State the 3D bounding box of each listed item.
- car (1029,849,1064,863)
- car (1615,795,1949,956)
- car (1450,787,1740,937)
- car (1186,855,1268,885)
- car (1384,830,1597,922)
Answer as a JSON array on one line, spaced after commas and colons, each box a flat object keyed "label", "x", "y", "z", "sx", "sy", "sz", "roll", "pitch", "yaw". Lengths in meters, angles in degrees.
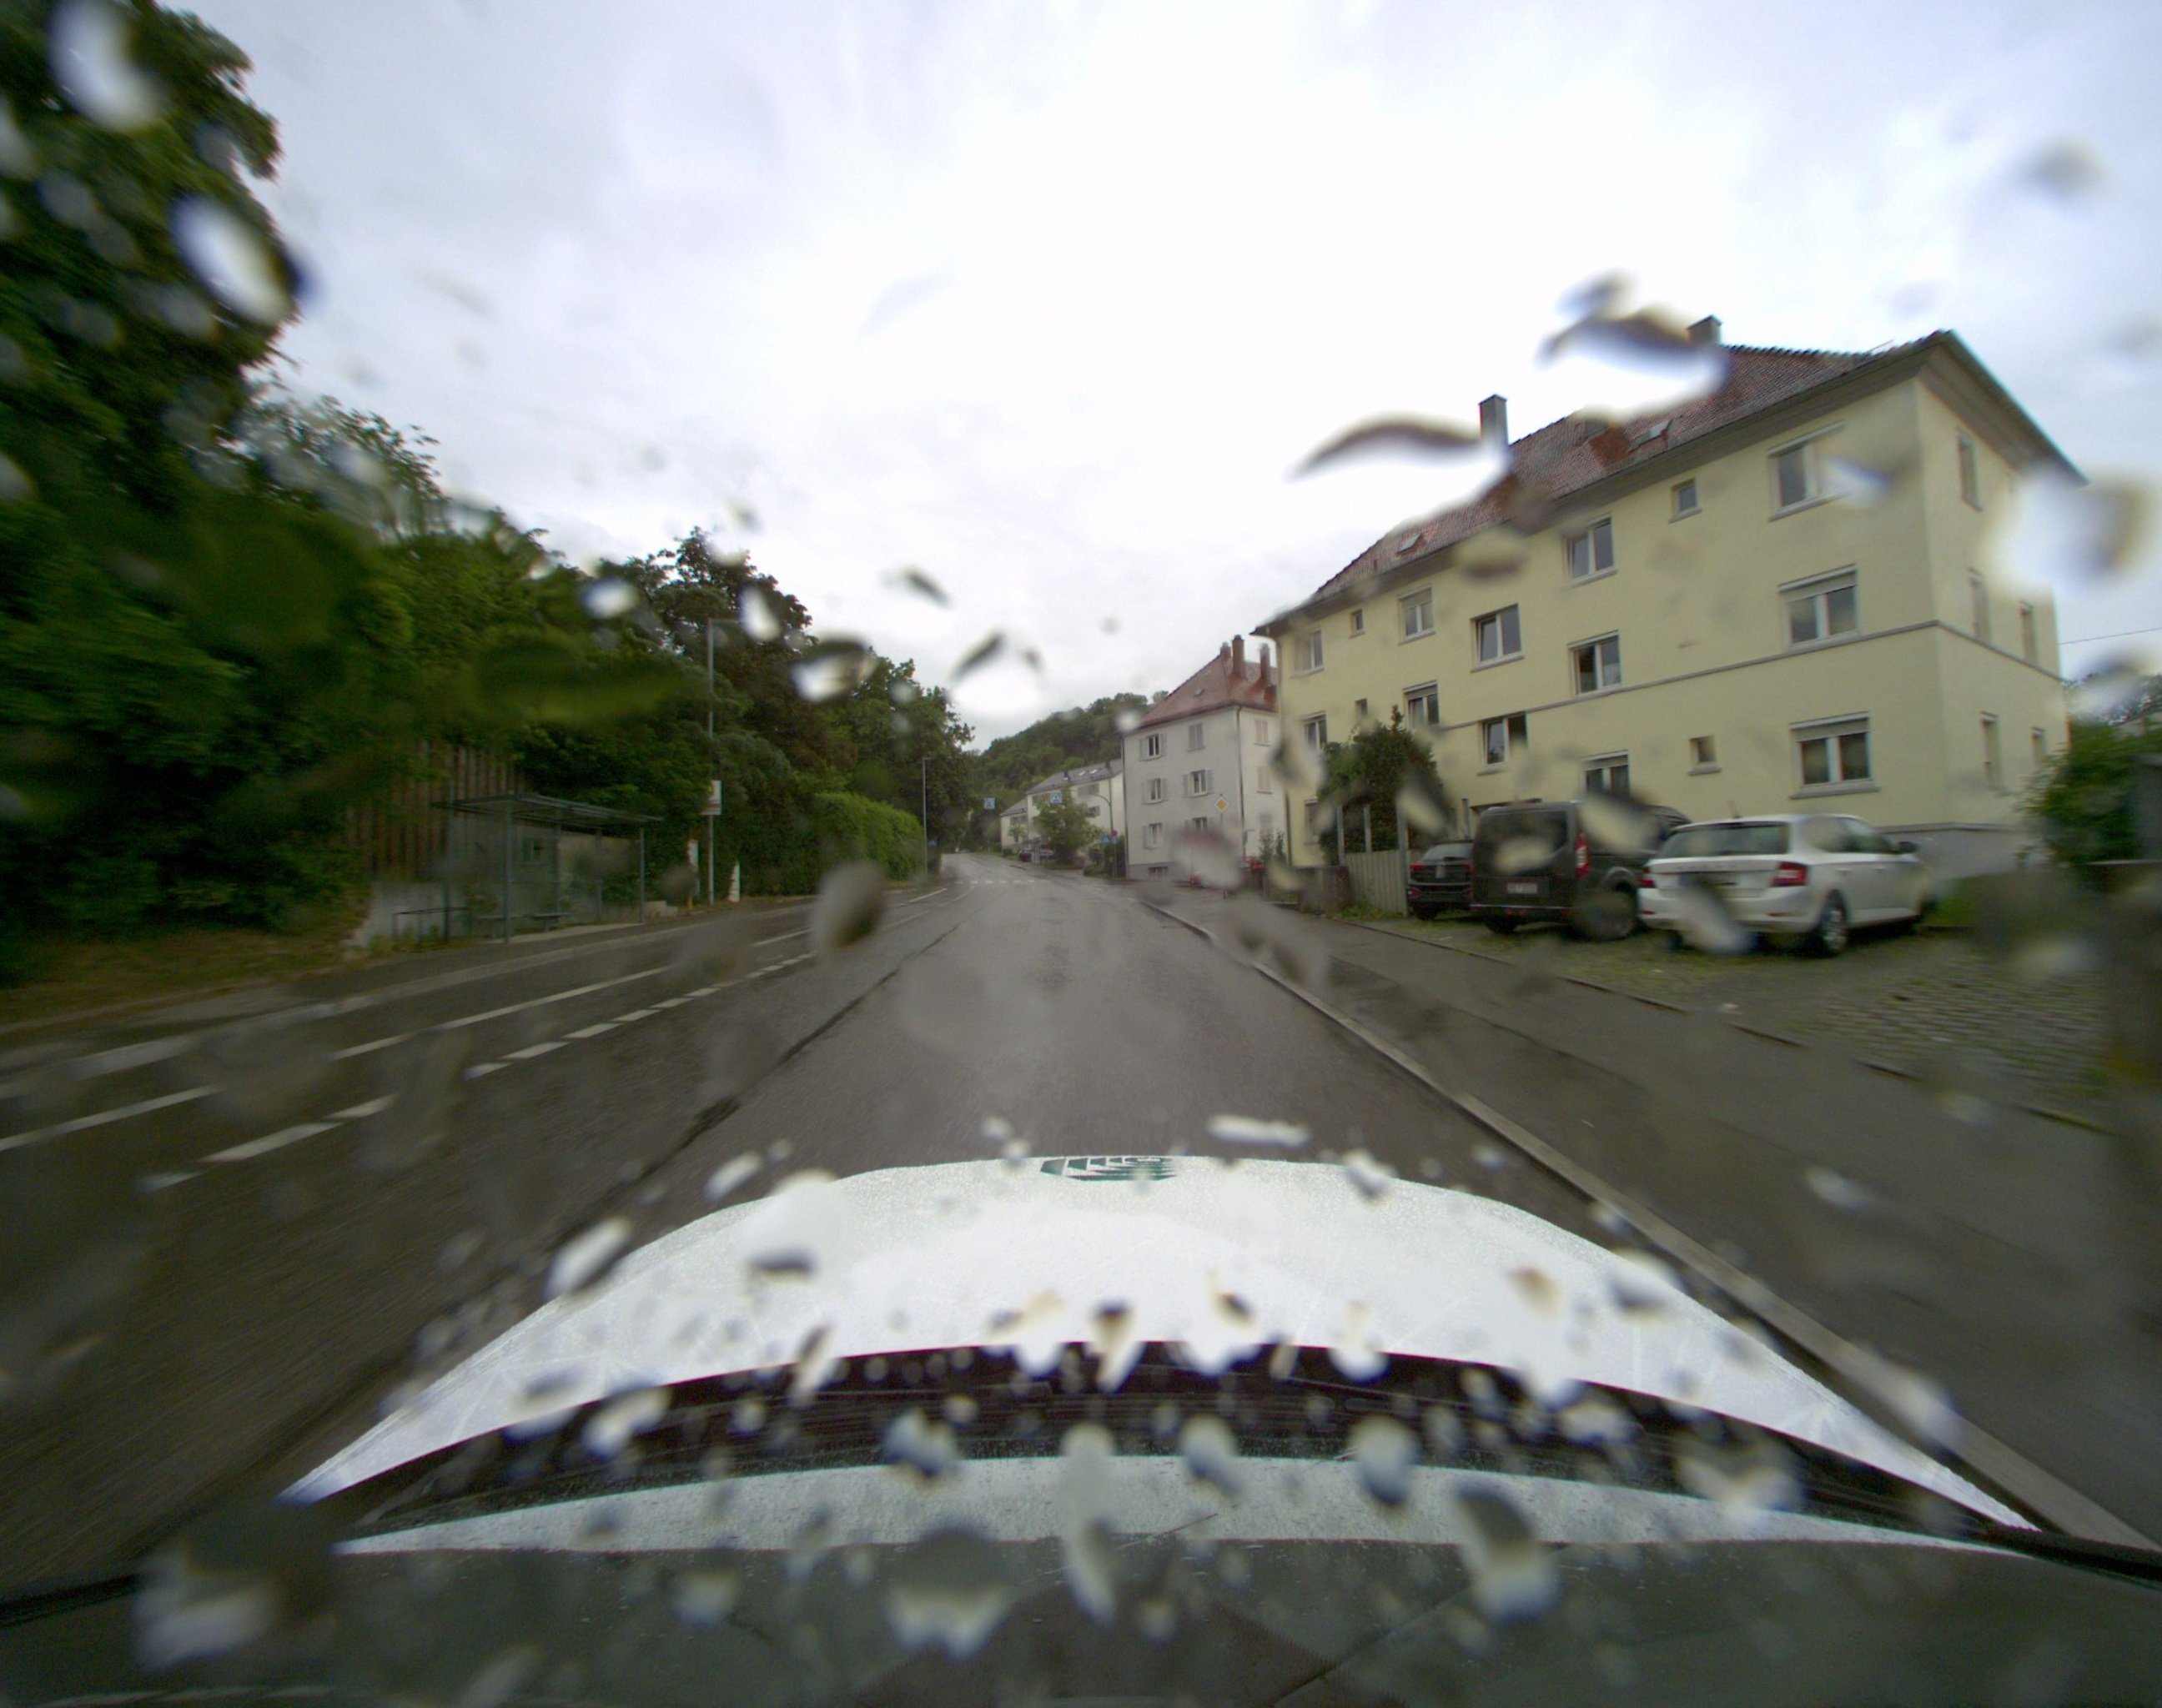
[{"label": "car", "x": -4.032, "y": 0.230, "z": 93.944, "sx": 3.750, "sy": 1.458, "sz": 1.716, "roll": -2, "pitch": 2, "yaw": -16}, {"label": "car", "x": 8.048, "y": 0.183, "z": 9.330, "sx": 3.535, "sy": 1.475, "sz": 1.672, "roll": -3, "pitch": -2, "yaw": -28}, {"label": "car", "x": 7.361, "y": 0.058, "z": 11.602, "sx": 3.947, "sy": 1.782, "sz": 1.754, "roll": -3, "pitch": -2, "yaw": -30}, {"label": "car", "x": 7.472, "y": 0.807, "z": 41.860, "sx": 4.057, "sy": 1.408, "sz": 1.728, "roll": 1, "pitch": 0, "yaw": 8}, {"label": "car", "x": 7.254, "y": 0.363, "z": 14.375, "sx": 3.538, "sy": 1.339, "sz": 1.671, "roll": -3, "pitch": -2, "yaw": -32}]
